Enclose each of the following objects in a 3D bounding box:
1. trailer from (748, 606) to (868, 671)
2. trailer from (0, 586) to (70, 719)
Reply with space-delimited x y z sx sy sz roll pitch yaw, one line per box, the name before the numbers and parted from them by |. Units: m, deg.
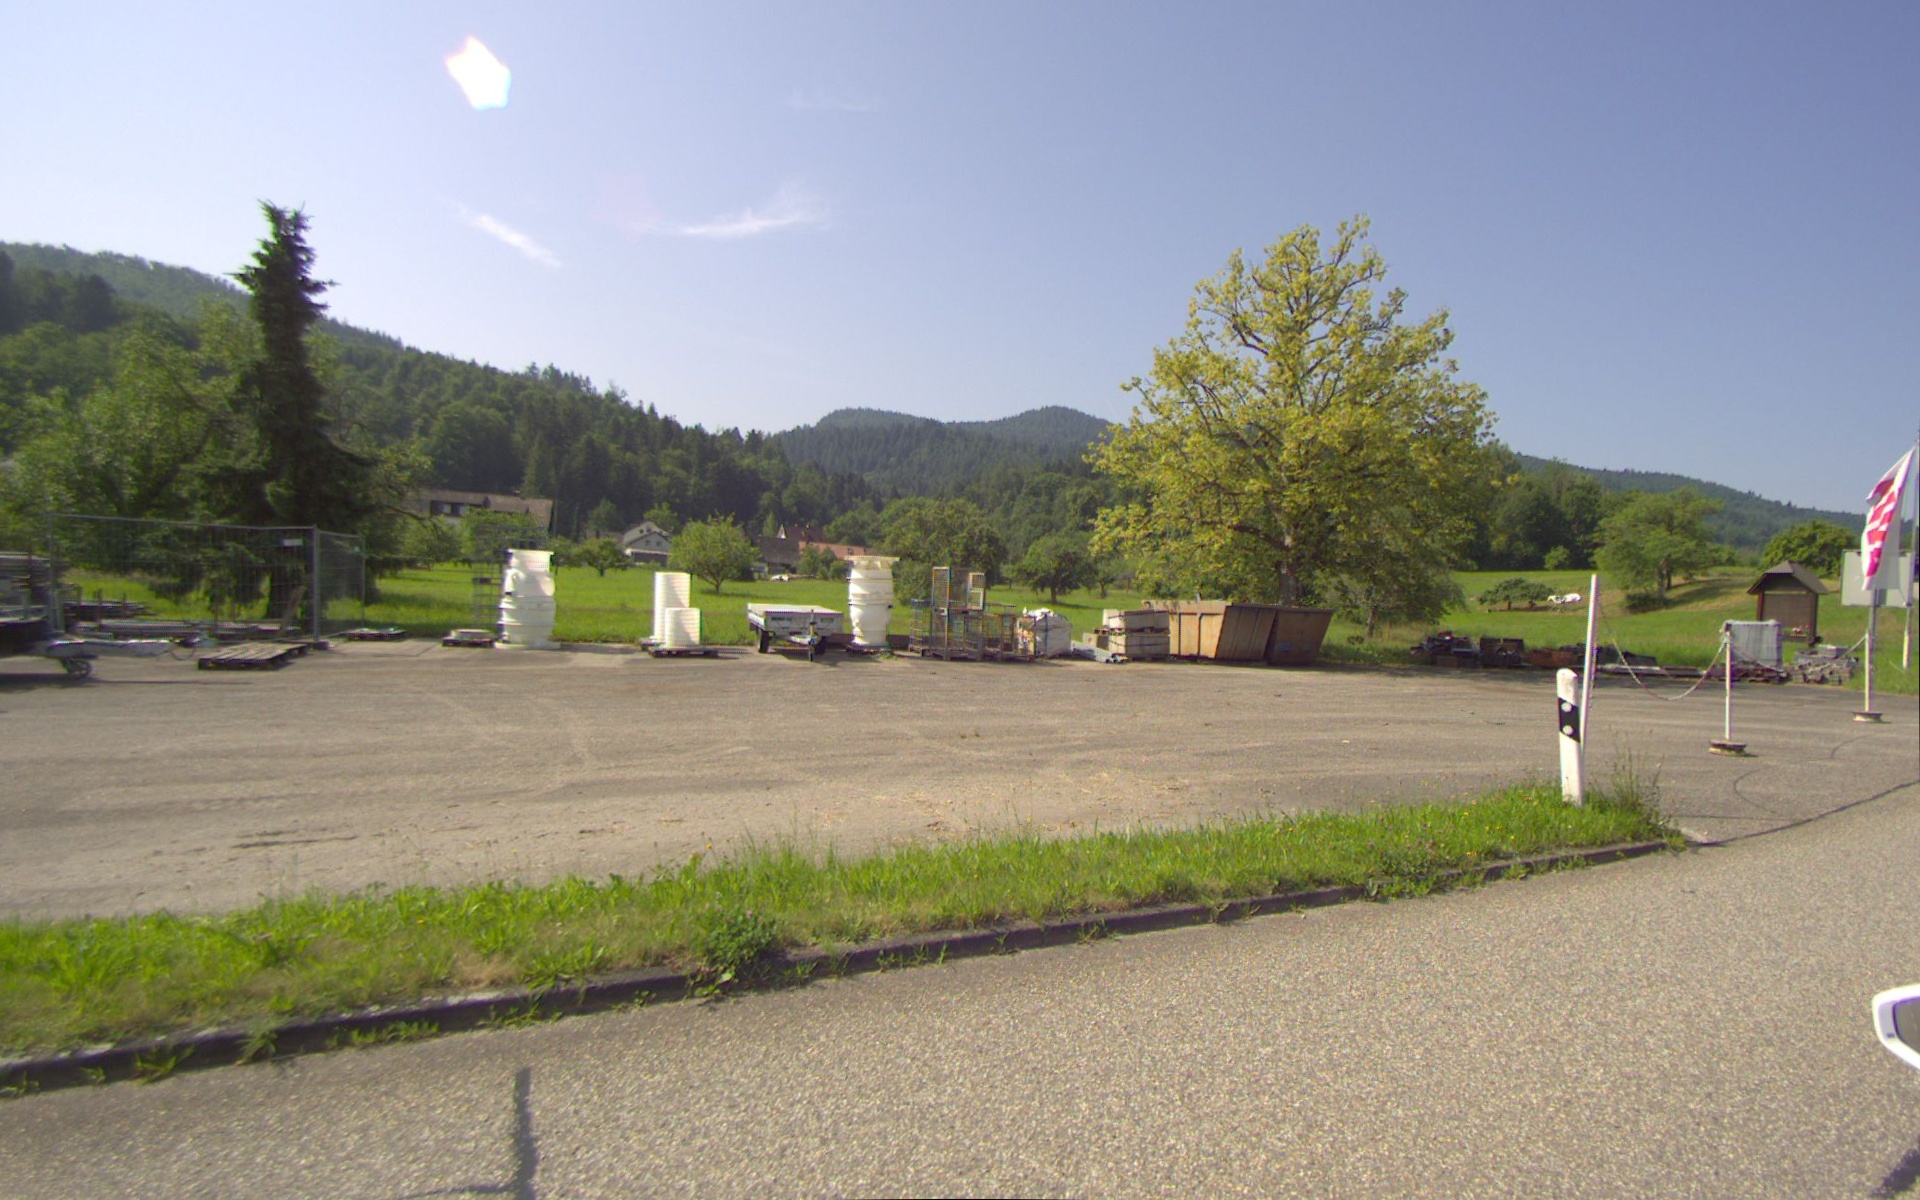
trailer | -3.189 0.732 20.456 1.838 0.952 3.930 3 2 -17
trailer | -12.035 0.433 9.167 5.462 1.243 1.991 2 2 -20
